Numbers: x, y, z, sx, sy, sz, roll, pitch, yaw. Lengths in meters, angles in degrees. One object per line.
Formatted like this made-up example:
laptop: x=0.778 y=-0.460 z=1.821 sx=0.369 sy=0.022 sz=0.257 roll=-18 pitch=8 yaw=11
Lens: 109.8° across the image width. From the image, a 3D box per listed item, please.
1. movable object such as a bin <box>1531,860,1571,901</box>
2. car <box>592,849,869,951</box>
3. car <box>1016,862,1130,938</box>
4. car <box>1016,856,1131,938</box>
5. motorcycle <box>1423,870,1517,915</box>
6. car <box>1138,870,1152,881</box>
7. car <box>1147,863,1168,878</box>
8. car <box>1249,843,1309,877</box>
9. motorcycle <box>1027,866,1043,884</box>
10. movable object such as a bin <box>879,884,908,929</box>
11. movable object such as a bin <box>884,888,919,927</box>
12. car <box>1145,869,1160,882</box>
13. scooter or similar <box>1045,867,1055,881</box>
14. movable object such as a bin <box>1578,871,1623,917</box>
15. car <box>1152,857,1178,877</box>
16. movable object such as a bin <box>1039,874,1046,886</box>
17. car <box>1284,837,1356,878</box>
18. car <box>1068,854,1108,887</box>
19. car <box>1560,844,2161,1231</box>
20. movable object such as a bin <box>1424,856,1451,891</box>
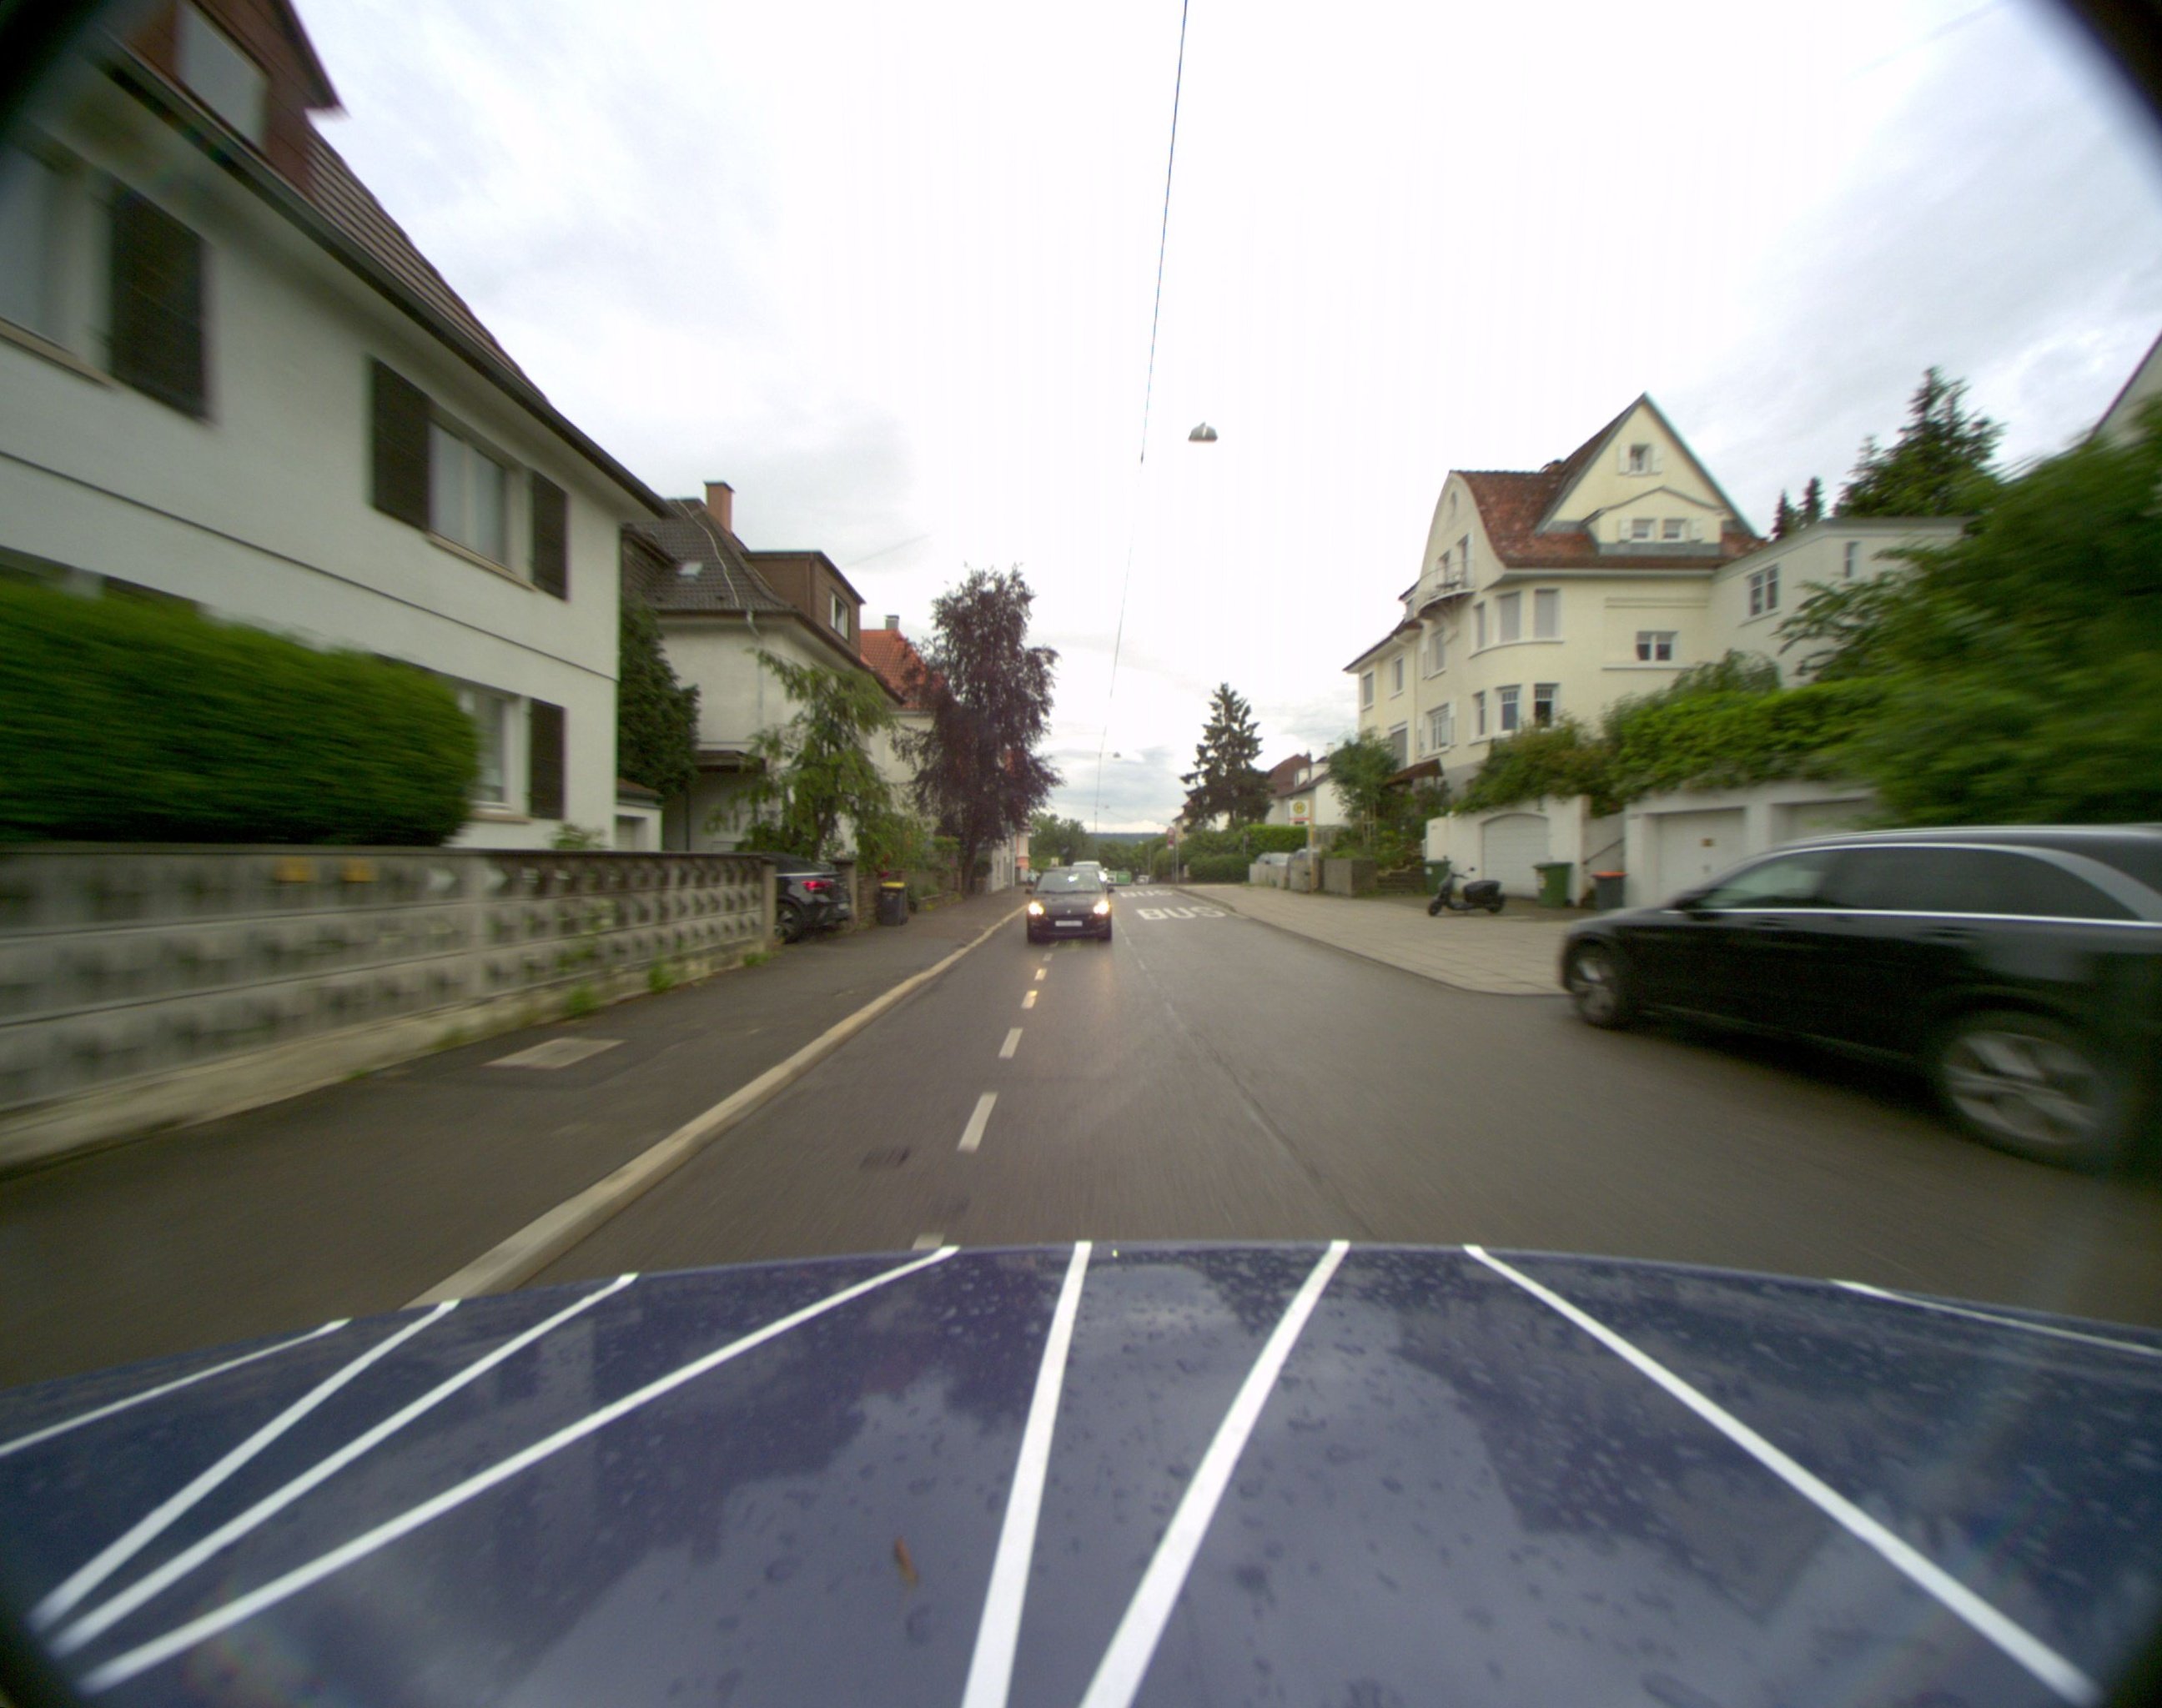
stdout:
movable object such as a bin: x=11.042 y=0.628 z=17.860 sx=0.575 sy=0.948 sz=0.513 roll=-1 pitch=-1 yaw=-4
car: x=-6.032 y=0.785 z=13.453 sx=3.997 sy=1.630 sz=1.919 roll=-1 pitch=-1 yaw=0
car: x=-0.029 y=0.915 z=16.189 sx=1.710 sy=1.413 sz=4.004 roll=-1 pitch=-1 yaw=10
car: x=-0.019 y=0.873 z=16.129 sx=1.695 sy=1.482 sz=3.944 roll=-2 pitch=-2 yaw=10
motorcycle: x=8.817 y=0.870 z=17.252 sx=1.798 sy=0.898 sz=0.603 roll=-3 pitch=1 yaw=0
car: x=9.002 y=3.069 z=106.649 sx=1.868 sy=1.491 sz=4.002 roll=-1 pitch=-1 yaw=3
car: x=8.493 y=1.851 z=84.543 sx=1.696 sy=1.482 sz=4.403 roll=-2 pitch=-2 yaw=-3
car: x=9.993 y=0.354 z=38.574 sx=1.770 sy=1.608 sz=4.000 roll=-1 pitch=-1 yaw=-4
motorcycle: x=-3.311 y=1.499 z=54.938 sx=0.694 sy=1.218 sz=2.155 roll=6 pitch=-1 yaw=5
movable object such as a bin: x=-4.040 y=1.121 z=16.395 sx=0.495 sy=0.950 sz=0.503 roll=-1 pitch=-1 yaw=-1
movable object such as a bin: x=-3.990 y=1.184 z=16.913 sx=0.652 sy=0.850 sz=0.503 roll=-1 pitch=-1 yaw=-1
car: x=8.861 y=2.649 z=93.870 sx=1.594 sy=1.482 sz=3.439 roll=-2 pitch=-2 yaw=1
scooter or similar: x=-3.087 y=2.037 z=76.253 sx=0.355 sy=1.394 sz=1.481 roll=-1 pitch=-1 yaw=25
movable object such as a bin: x=10.897 y=0.826 z=15.957 sx=0.575 sy=0.948 sz=0.513 roll=-1 pitch=-1 yaw=-4
car: x=8.744 y=1.417 z=79.107 sx=1.999 sy=1.945 sz=4.775 roll=-2 pitch=-2 yaw=-2
movable object such as a bin: x=-3.300 y=2.199 z=64.348 sx=0.533 sy=0.913 sz=0.488 roll=3 pitch=-1 yaw=-1
car: x=10.647 y=0.204 z=34.128 sx=1.770 sy=1.686 sz=4.000 roll=-1 pitch=-1 yaw=-4
car: x=0.377 y=0.855 z=39.405 sx=1.928 sy=1.577 sz=4.001 roll=-1 pitch=-1 yaw=1
car: x=5.399 y=0.760 z=4.778 sx=1.898 sy=1.613 sz=4.378 roll=-1 pitch=0 yaw=-2
movable object such as a bin: x=11.093 y=0.608 z=23.654 sx=0.575 sy=1.052 sz=0.513 roll=-1 pitch=-1 yaw=1
